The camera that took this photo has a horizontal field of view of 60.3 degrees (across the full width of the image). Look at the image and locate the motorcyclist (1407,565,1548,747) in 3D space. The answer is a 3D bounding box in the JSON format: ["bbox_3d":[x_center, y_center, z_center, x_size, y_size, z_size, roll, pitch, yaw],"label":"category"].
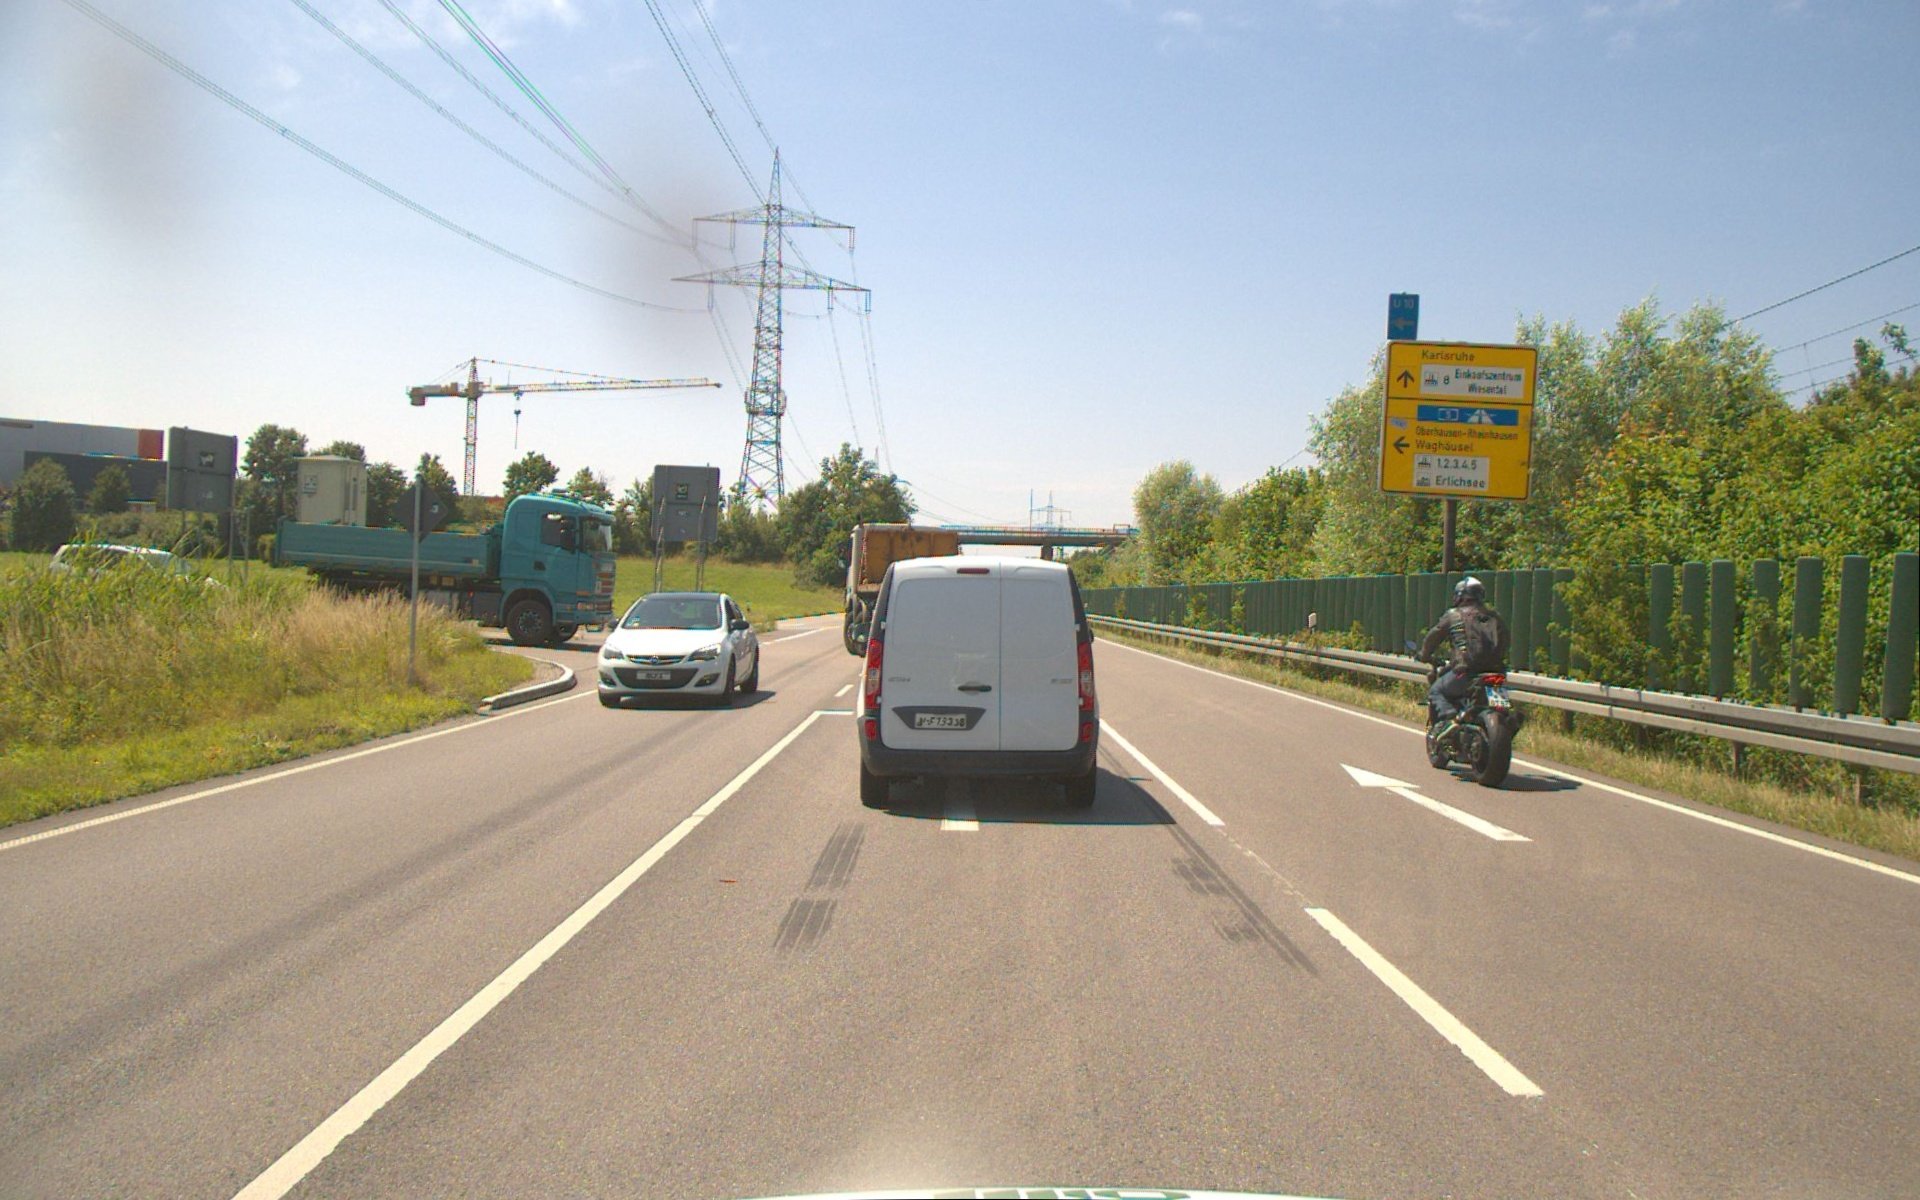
[{"bbox_3d":[4.449,0.468,14.279,0.871,1.502,1.002,1,0,-1],"label":"motorcyclist"}]

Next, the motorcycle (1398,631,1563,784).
[{"bbox_3d":[4.481,0.892,14.380,0.774,1.178,1.901,2,0,-1],"label":"motorcycle"}]

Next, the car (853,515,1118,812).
[{"bbox_3d":[0.166,0.429,13.318,1.789,2.005,4.000,1,0,0],"label":"car"}]

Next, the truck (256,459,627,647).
[{"bbox_3d":[-12.076,-1.083,38.929,7.741,3.799,2.499,4,0,2],"label":"truck"}]

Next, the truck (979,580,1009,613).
[{"bbox_3d":[2.993,-0.337,146.375,2.326,2.736,8.009,2,0,0],"label":"truck"}]

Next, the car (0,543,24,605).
[{"bbox_3d":[-25.270,-0.711,40.138,4.337,1.496,1.720,3,0,11],"label":"car"}]

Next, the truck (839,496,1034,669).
[{"bbox_3d":[-0.791,-0.434,37.460,2.769,3.345,9.677,1,1,-11],"label":"truck"}]

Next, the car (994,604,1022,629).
[{"bbox_3d":[3.221,1.072,111.617,1.810,1.601,4.000,1,0,0],"label":"car"}]

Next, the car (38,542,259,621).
[{"bbox_3d":[-19.253,-0.440,39.283,4.445,1.640,1.969,3,0,15],"label":"car"}]

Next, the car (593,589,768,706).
[{"bbox_3d":[-3.809,0.592,23.183,1.689,1.466,4.249,1,0,0],"label":"car"}]
